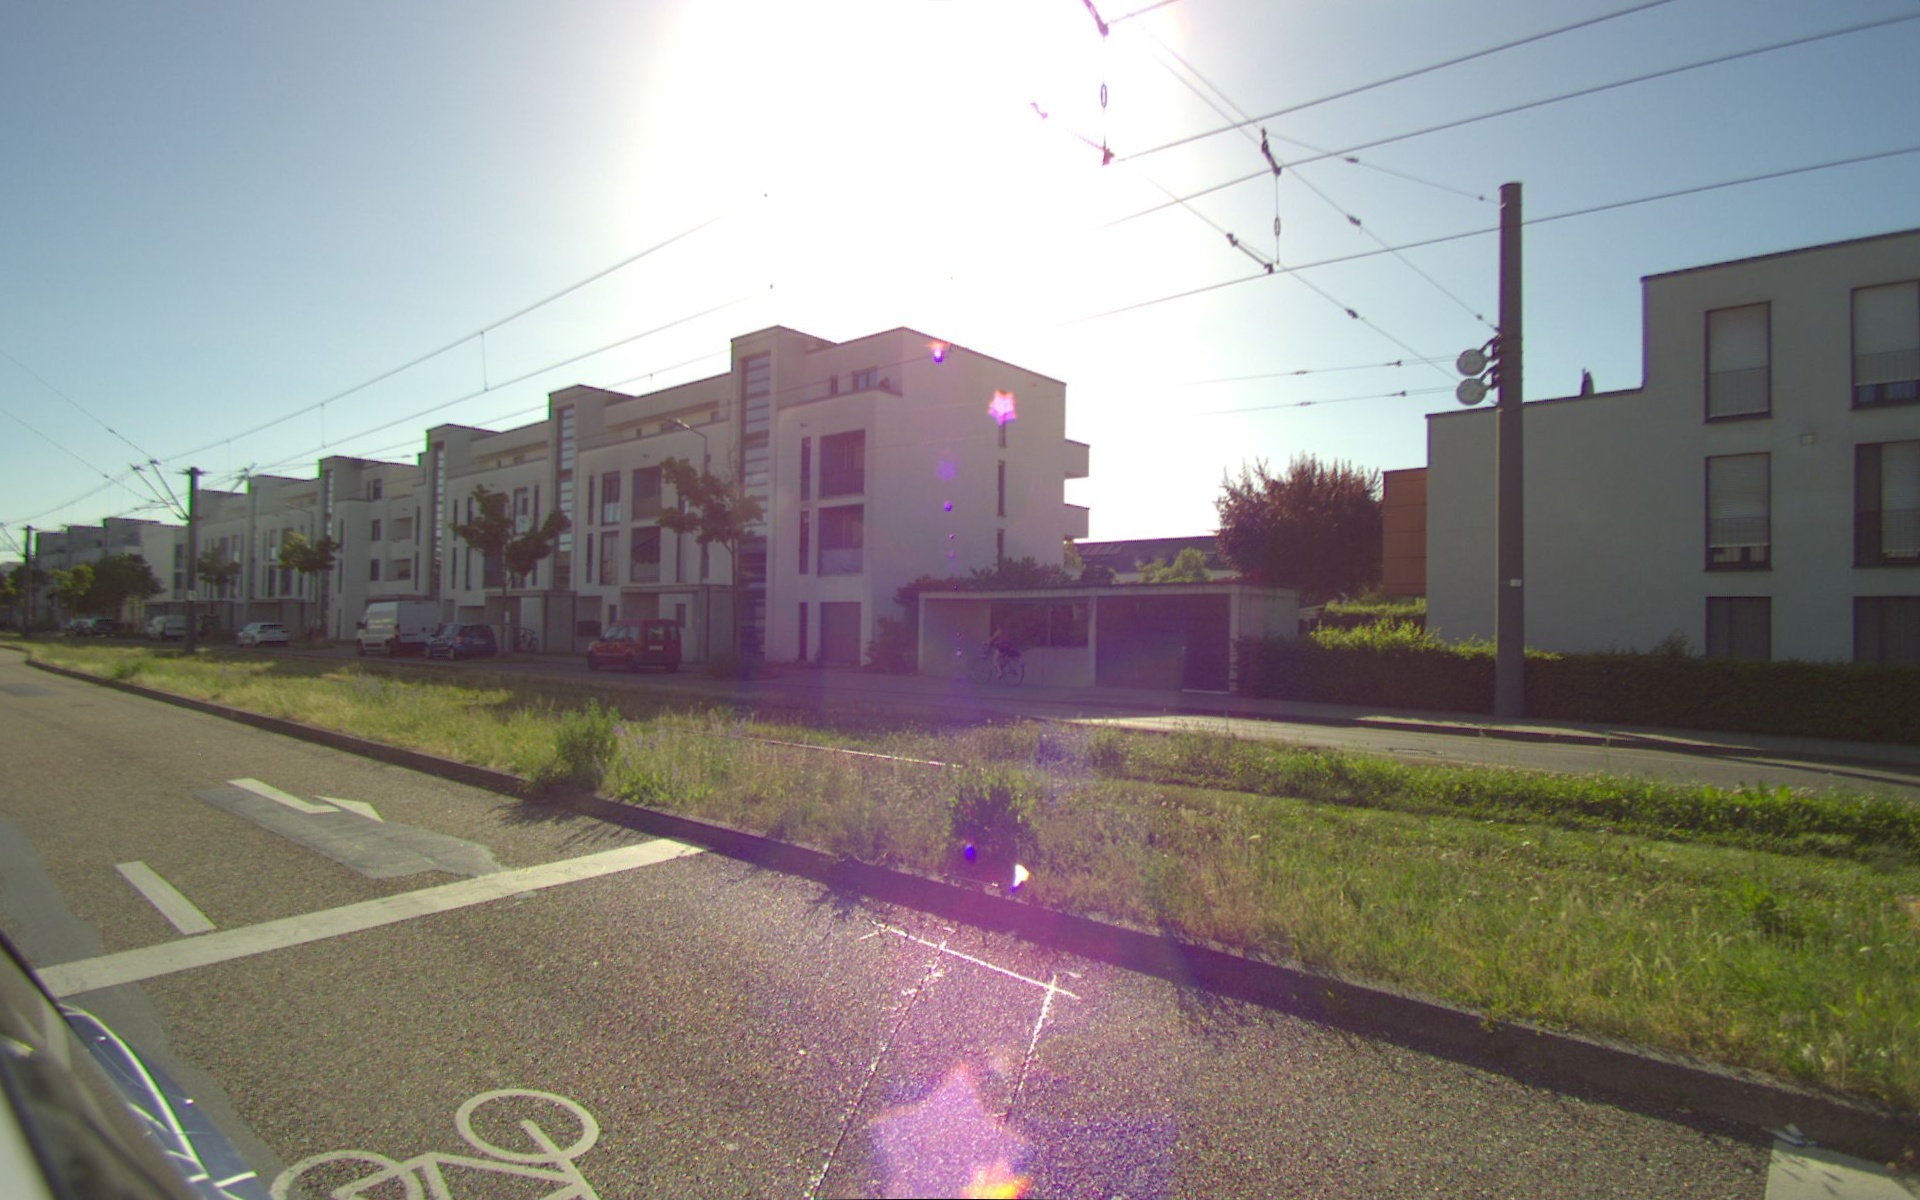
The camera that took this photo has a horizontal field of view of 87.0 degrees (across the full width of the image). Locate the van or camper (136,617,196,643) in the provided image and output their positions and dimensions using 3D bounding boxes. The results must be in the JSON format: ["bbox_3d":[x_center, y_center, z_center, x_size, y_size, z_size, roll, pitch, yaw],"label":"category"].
[{"bbox_3d":[-58.211,2.182,74.155,6.282,1.862,2.243,-1,-2,41],"label":"van or camper"}]

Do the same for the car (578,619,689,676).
[{"bbox_3d":[-10.808,1.538,33.369,3.908,1.736,1.769,-1,-4,43],"label":"car"}]

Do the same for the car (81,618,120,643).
[{"bbox_3d":[-72.851,2.536,85.756,3.995,2.029,1.765,-1,-1,39],"label":"car"}]

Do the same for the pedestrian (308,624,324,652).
[{"bbox_3d":[-38.886,2.301,61.129,0.611,1.656,0.612,-1,-1,35],"label":"pedestrian"}]

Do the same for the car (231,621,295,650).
[{"bbox_3d":[-41.599,2.107,60.379,4.117,1.598,2.021,-1,-3,39],"label":"car"}]

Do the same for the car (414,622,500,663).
[{"bbox_3d":[-21.104,1.779,42.432,3.835,1.625,1.909,-1,-3,42],"label":"car"}]

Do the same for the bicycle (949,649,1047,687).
[{"bbox_3d":[0.965,1.745,26.355,2.479,0.899,0.891,-1,-3,37],"label":"bicycle"}]

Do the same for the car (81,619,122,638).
[{"bbox_3d":[-68.271,2.252,80.473,3.492,1.449,1.844,1,0,38],"label":"car"}]

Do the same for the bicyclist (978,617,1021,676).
[{"bbox_3d":[1.040,1.211,26.325,0.744,1.502,0.881,-1,-3,36],"label":"bicyclist"}]

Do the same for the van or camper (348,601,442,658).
[{"bbox_3d":[-26.205,1.356,46.870,5.258,2.484,2.168,-1,-3,42],"label":"van or camper"}]
